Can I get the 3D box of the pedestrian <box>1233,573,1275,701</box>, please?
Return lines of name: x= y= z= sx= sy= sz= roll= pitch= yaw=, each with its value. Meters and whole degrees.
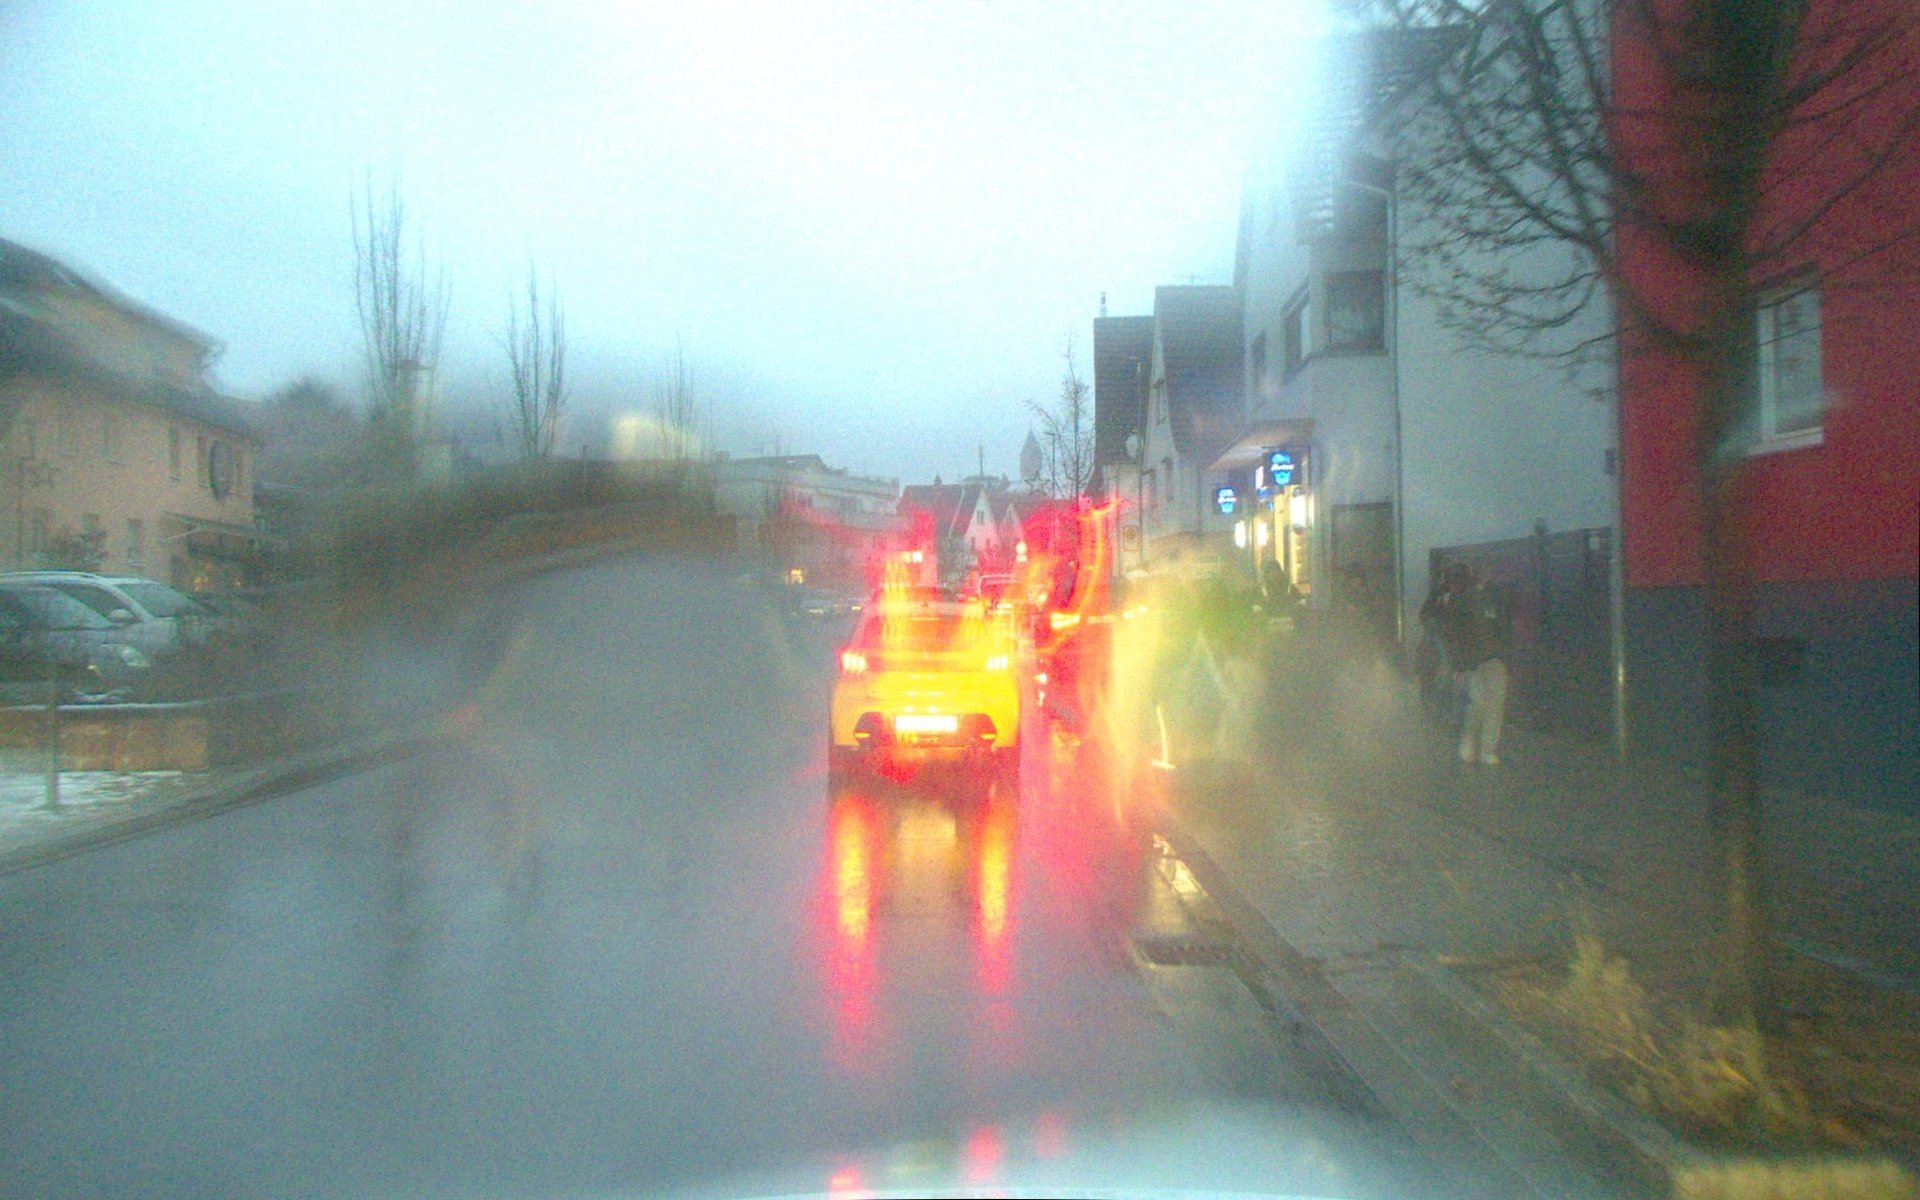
pedestrian: x=3.924 y=0.476 z=22.032 sx=0.469 sy=1.659 sz=1.020 roll=-2 pitch=0 yaw=12

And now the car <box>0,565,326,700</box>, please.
car: x=-9.938 y=0.381 z=20.187 sx=3.713 sy=1.549 sz=1.716 roll=0 pitch=-1 yaw=5

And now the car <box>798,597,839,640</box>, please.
car: x=-7.158 y=0.953 z=83.808 sx=1.881 sy=2.063 sz=3.972 roll=1 pitch=-2 yaw=-3

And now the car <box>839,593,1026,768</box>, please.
car: x=-0.254 y=0.669 z=15.283 sx=1.531 sy=1.437 sz=3.017 roll=1 pitch=0 yaw=-1

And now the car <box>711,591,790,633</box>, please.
car: x=-11.457 y=0.682 z=90.401 sx=4.309 sy=2.204 sz=1.987 roll=-1 pitch=-3 yaw=43

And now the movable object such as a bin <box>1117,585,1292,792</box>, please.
movable object such as a bin: x=1.874 y=0.649 z=12.920 sx=1.106 sy=1.445 sz=1.417 roll=-3 pitch=1 yaw=1

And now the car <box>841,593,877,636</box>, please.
car: x=-5.571 y=0.820 z=91.757 sx=1.881 sy=2.254 sz=3.972 roll=1 pitch=-2 yaw=-3

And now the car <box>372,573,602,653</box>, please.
car: x=-10.361 y=0.293 z=36.522 sx=4.533 sy=1.697 sz=1.998 roll=0 pitch=-1 yaw=-4

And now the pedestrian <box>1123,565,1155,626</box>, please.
pedestrian: x=4.604 y=-0.122 z=42.570 sx=0.608 sy=1.542 sz=0.731 roll=0 pitch=1 yaw=-14

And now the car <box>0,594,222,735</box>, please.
car: x=-9.855 y=0.668 z=17.476 sx=3.375 sy=1.396 sz=1.600 roll=-1 pitch=0 yaw=-2

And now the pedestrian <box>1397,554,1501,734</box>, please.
pedestrian: x=4.859 y=0.437 z=16.491 sx=0.731 sy=1.708 sz=1.052 roll=-2 pitch=-1 yaw=5

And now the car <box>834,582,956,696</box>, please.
car: x=-0.968 y=0.576 z=26.339 sx=1.730 sy=1.657 sz=3.586 roll=1 pitch=0 yaw=1

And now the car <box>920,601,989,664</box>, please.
car: x=-0.161 y=0.723 z=38.157 sx=1.510 sy=1.355 sz=3.310 roll=1 pitch=0 yaw=-1

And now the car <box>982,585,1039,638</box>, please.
car: x=1.835 y=0.433 z=61.259 sx=1.957 sy=1.897 sz=4.082 roll=0 pitch=-1 yaw=-1

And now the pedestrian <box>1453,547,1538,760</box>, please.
pedestrian: x=4.382 y=0.438 z=13.572 sx=0.517 sy=1.682 sz=0.954 roll=1 pitch=-2 yaw=9

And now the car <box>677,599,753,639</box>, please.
car: x=-12.886 y=1.032 z=86.842 sx=4.096 sy=2.011 sz=1.811 roll=-1 pitch=-3 yaw=43

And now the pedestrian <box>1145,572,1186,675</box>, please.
pedestrian: x=3.532 y=0.399 z=28.401 sx=0.561 sy=1.729 sz=0.653 roll=-2 pitch=-1 yaw=0

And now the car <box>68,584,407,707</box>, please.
car: x=-9.990 y=0.616 z=23.033 sx=4.008 sy=1.636 sz=1.587 roll=0 pitch=-1 yaw=2

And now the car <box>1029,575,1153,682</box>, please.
car: x=2.228 y=0.475 z=29.200 sx=1.700 sy=1.722 sz=4.384 roll=-1 pitch=0 yaw=-2

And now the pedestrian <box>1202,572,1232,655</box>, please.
pedestrian: x=5.506 y=0.298 z=35.423 sx=0.605 sy=1.757 sz=0.502 roll=0 pitch=-2 yaw=11

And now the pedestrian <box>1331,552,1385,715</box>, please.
pedestrian: x=4.586 y=0.376 z=19.075 sx=0.517 sy=1.832 sz=0.865 roll=1 pitch=0 yaw=9

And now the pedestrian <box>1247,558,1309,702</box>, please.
pedestrian: x=3.982 y=0.358 z=20.666 sx=0.697 sy=1.745 sz=1.035 roll=-2 pitch=0 yaw=12

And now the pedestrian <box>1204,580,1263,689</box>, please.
pedestrian: x=4.260 y=0.526 z=25.835 sx=0.608 sy=1.655 sz=0.903 roll=0 pitch=1 yaw=-14
